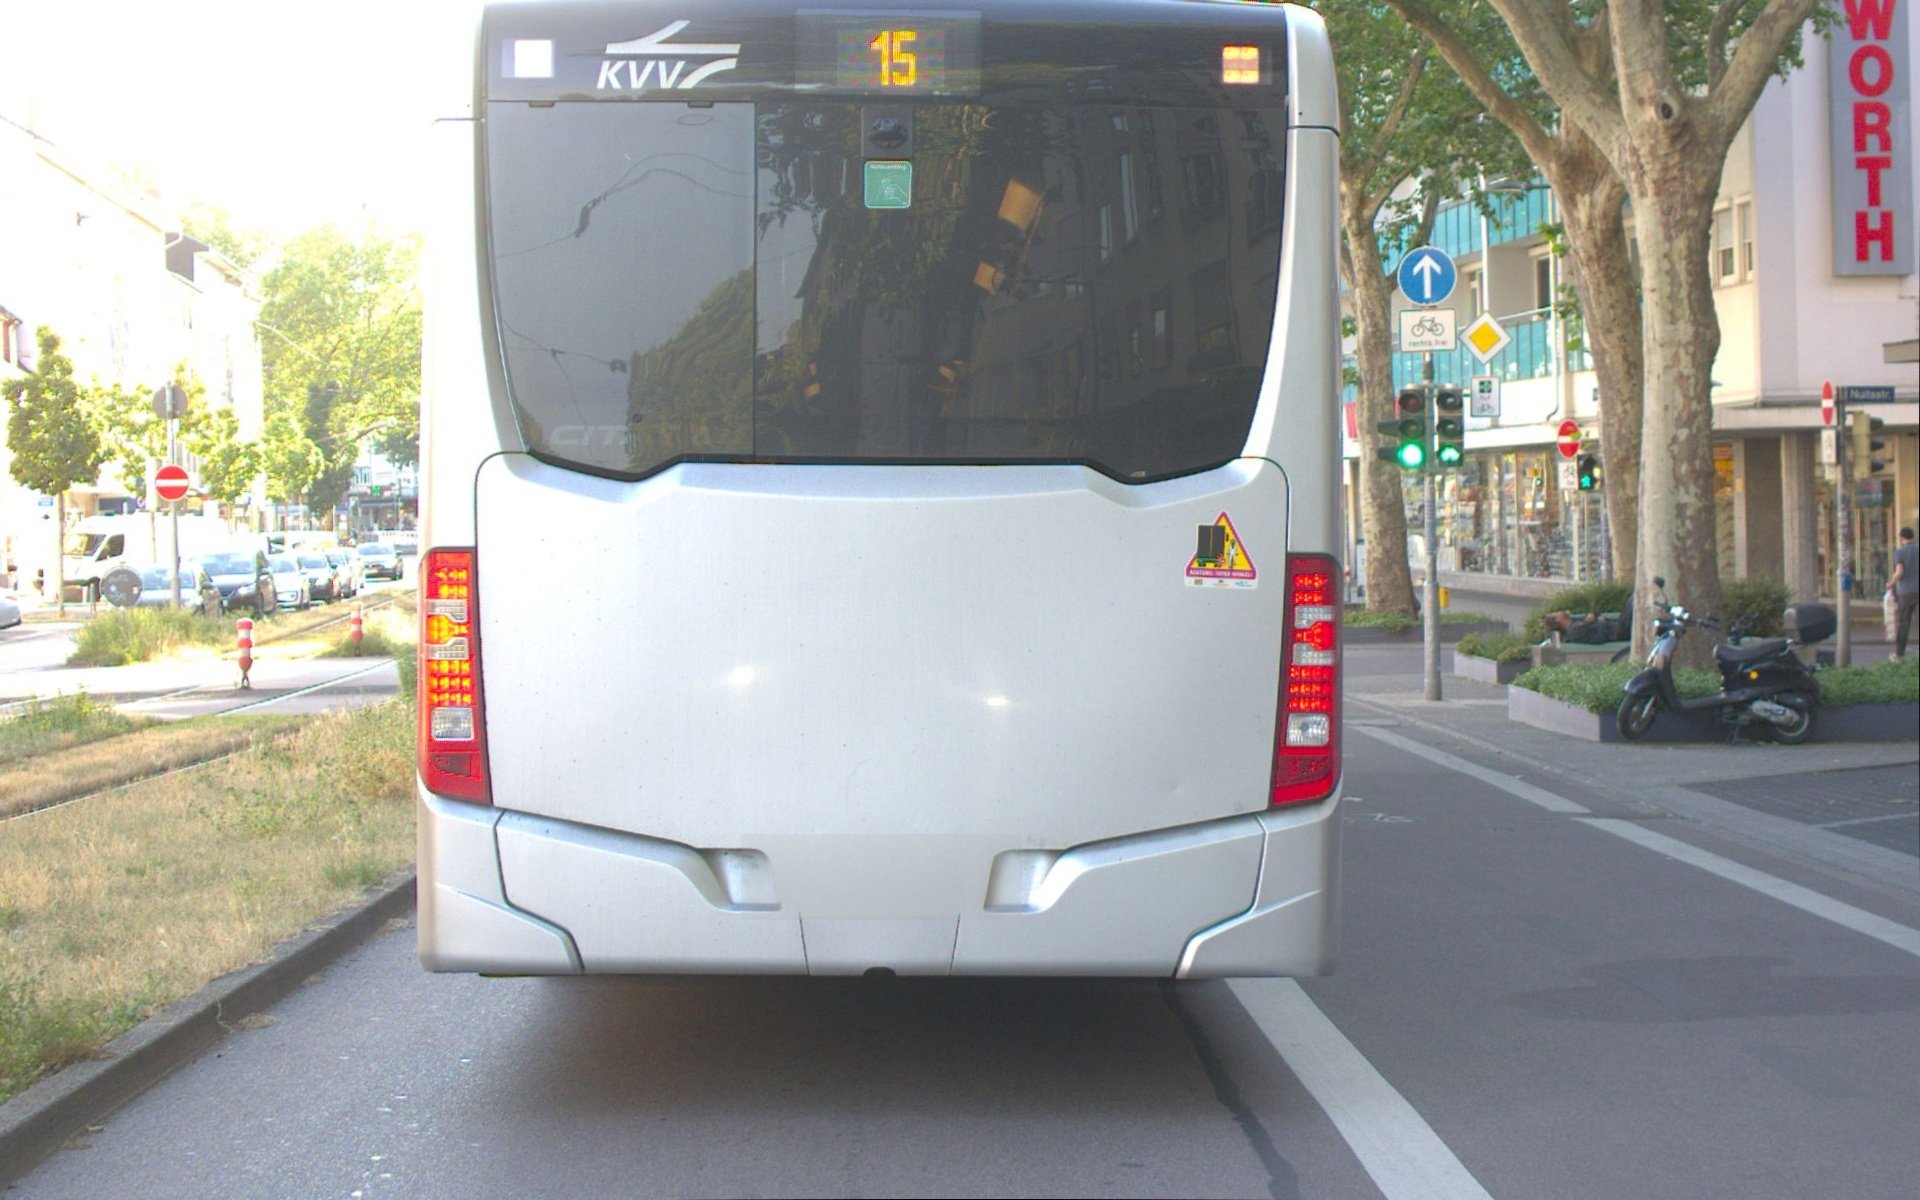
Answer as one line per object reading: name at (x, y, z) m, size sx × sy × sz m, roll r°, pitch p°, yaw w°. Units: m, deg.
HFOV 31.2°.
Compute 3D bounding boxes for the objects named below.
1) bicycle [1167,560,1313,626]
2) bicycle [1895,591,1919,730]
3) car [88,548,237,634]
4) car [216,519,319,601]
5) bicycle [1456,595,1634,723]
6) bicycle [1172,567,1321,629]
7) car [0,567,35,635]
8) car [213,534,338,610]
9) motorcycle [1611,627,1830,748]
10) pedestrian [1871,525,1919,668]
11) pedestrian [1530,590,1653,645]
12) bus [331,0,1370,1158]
bicycle at (4.685, -0.122, 57.565) m, size 2.309 × 1.025 × 0.837 m, roll -1°, pitch 2°, yaw -8°
bicycle at (9.255, 0.474, 30.186) m, size 1.877 × 1.185 × 0.711 m, roll -4°, pitch 0°, yaw 8°
car at (-15.457, -0.197, 66.787) m, size 1.780 × 1.445 × 4.044 m, roll -3°, pitch 2°, yaw 2°
car at (-17.639, -1.018, 87.722) m, size 1.993 × 2.007 × 4.001 m, roll -1°, pitch 1°, yaw -3°
bicycle at (5.370, 0.537, 31.582) m, size 1.509 × 1.101 × 0.460 m, roll 2°, pitch 1°, yaw 0°
bicycle at (4.694, -0.037, 56.413) m, size 2.309 × 0.936 × 0.837 m, roll -1°, pitch 2°, yaw -8°
car at (-21.795, 0.060, 71.424) m, size 4.538 × 1.407 × 2.000 m, roll -2°, pitch 1°, yaw -36°
car at (-15.110, -0.635, 76.086) m, size 1.780 × 1.609 × 4.508 m, roll 0°, pitch 1°, yaw 1°
motorcycle at (5.962, 0.681, 26.968) m, size 1.570 × 0.889 × 0.544 m, roll -1°, pitch 1°, yaw -3°
pedestrian at (12.032, -0.056, 43.506) m, size 0.780 × 1.788 × 0.764 m, roll -1°, pitch 1°, yaw 0°
pedestrian at (6.951, 0.191, 37.861) m, size 1.254 × 0.587 × 0.482 m, roll 0°, pitch 1°, yaw -2°
bus at (-0.256, -0.170, 12.445) m, size 2.678 × 3.073 × 7.114 m, roll 0°, pitch 1°, yaw 1°
